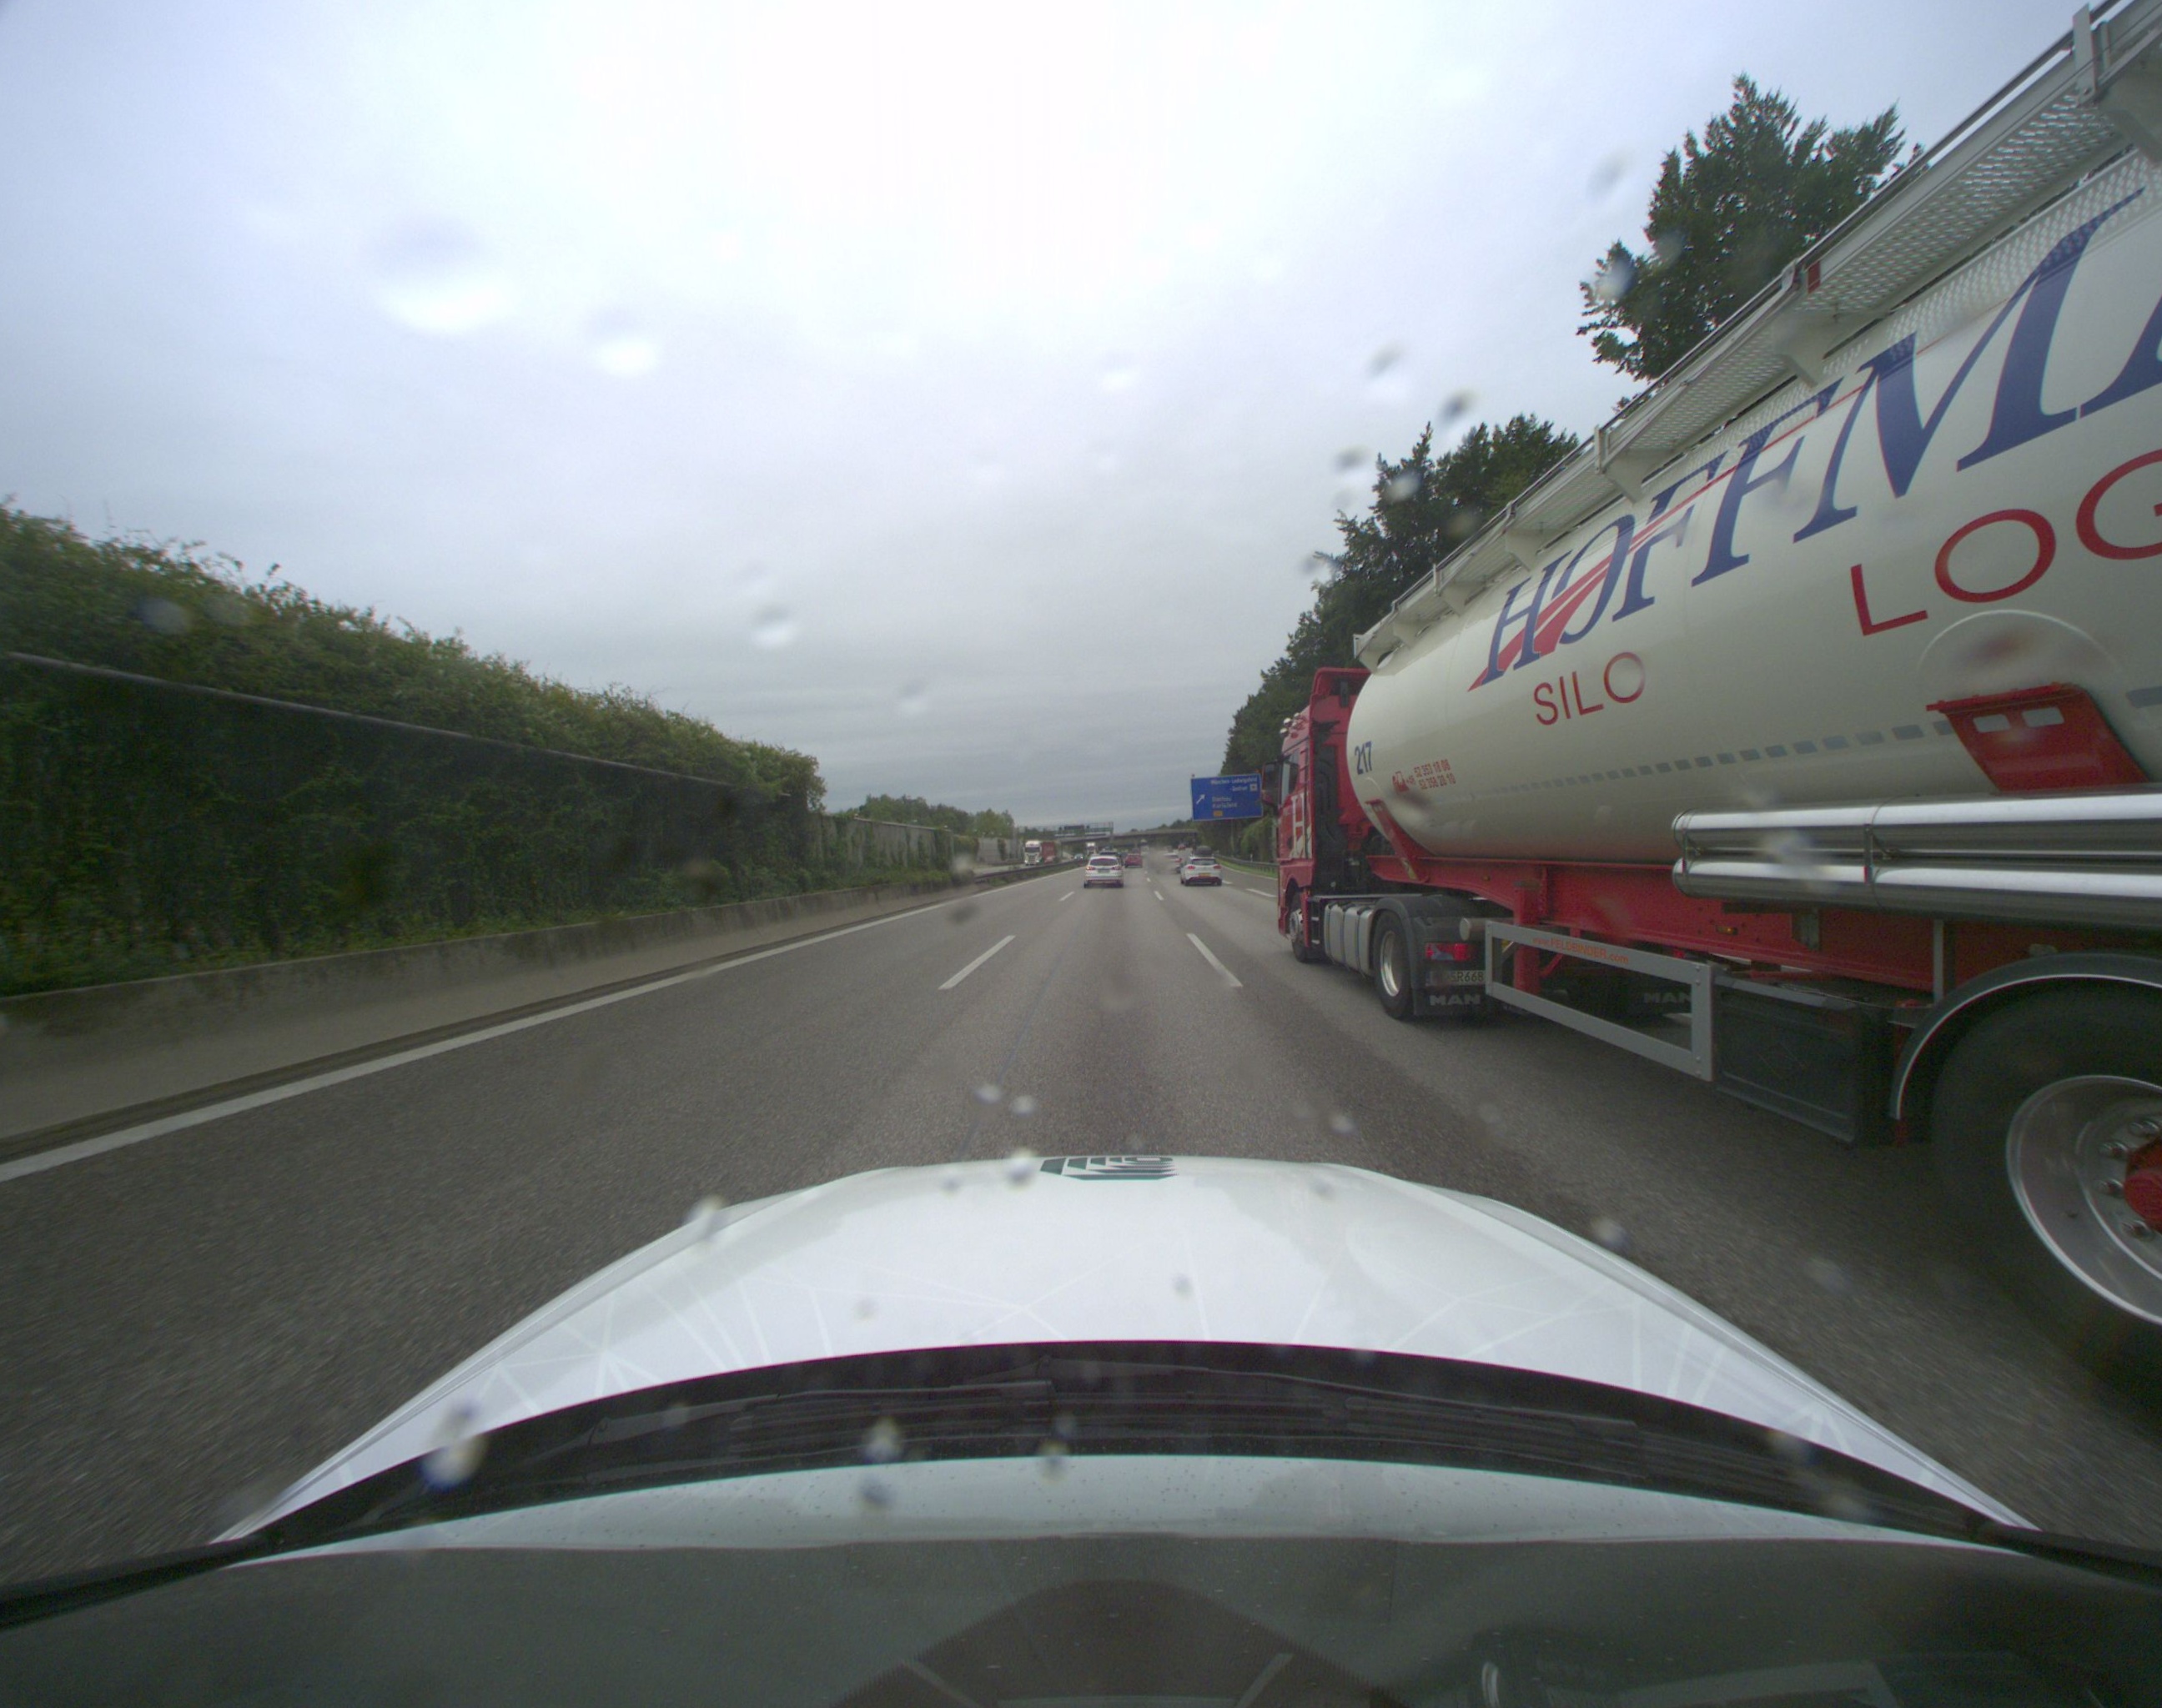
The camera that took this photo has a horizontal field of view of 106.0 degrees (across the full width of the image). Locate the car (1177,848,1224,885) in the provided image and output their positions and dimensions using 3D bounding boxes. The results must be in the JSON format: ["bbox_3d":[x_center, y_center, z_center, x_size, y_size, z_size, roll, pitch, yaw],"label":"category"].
[{"bbox_3d":[5.737,0.568,39.545,1.808,1.625,5.034,-2,0,3],"label":"car"}]

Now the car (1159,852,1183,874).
[{"bbox_3d":[6.729,0.663,60.601,1.680,1.506,3.879,-2,-1,7],"label":"car"}]

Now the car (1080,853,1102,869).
[{"bbox_3d":[1.074,0.778,84.235,1.711,1.469,5.038,-2,-2,6],"label":"car"}]

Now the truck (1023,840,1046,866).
[{"bbox_3d":[-7.684,-0.185,135.671,2.654,4.127,5.927,-2,0,6],"label":"truck"}]

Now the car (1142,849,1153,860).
[{"bbox_3d":[12.004,0.109,147.301,1.780,1.779,3.880,-3,-1,8],"label":"car"}]

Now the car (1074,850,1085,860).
[{"bbox_3d":[-0.271,0.253,163.620,1.985,1.738,4.006,1,4,4],"label":"car"}]

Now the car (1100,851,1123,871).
[{"bbox_3d":[2.533,0.522,66.750,1.681,1.506,3.876,2,1,4],"label":"car"}]

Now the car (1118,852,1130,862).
[{"bbox_3d":[7.633,0.556,143.167,1.679,1.639,3.880,-3,-1,8],"label":"car"}]

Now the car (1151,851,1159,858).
[{"bbox_3d":[16.630,0.082,182.471,1.679,1.539,3.880,-2,0,8],"label":"car"}]

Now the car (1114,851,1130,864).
[{"bbox_3d":[5.364,0.432,106.401,1.679,1.506,3.880,-2,0,8],"label":"car"}]

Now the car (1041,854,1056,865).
[{"bbox_3d":[-5.055,0.898,127.481,1.764,1.569,4.721,-2,-1,3],"label":"car"}]

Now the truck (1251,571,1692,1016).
[{"bbox_3d":[4.165,-0.518,10.570,2.685,3.912,6.559,-2,-1,2],"label":"truck"}]

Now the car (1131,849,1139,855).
[{"bbox_3d":[12.341,-0.506,185.427,1.680,1.422,3.878,-2,0,6],"label":"car"}]

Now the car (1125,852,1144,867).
[{"bbox_3d":[5.505,0.549,83.911,1.679,1.506,3.880,-1,0,8],"label":"car"}]

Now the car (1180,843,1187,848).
[{"bbox_3d":[27.663,-2.351,220.013,1.680,1.422,3.878,-2,0,6],"label":"car"}]

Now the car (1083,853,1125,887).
[{"bbox_3d":[1.137,0.724,38.822,1.884,1.504,5.033,0,0,3],"label":"car"}]

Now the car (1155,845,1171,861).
[{"bbox_3d":[9.688,-0.100,96.098,1.679,1.779,3.879,-3,-1,8],"label":"car"}]

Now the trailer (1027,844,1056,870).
[{"bbox_3d":[-6.847,0.465,142.868,2.730,4.127,13.714,-2,0,7],"label":"trailer"}]

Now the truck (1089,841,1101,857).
[{"bbox_3d":[3.998,-1.398,228.330,2.635,4.473,5.293,-2,0,6],"label":"truck"}]

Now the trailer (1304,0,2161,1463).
[{"bbox_3d":[3.897,-0.554,3.296,2.658,3.939,13.134,-1,0,2],"label":"trailer"}]

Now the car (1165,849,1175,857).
[{"bbox_3d":[17.002,-0.254,155.815,1.679,1.539,3.880,-2,0,8],"label":"car"}]
